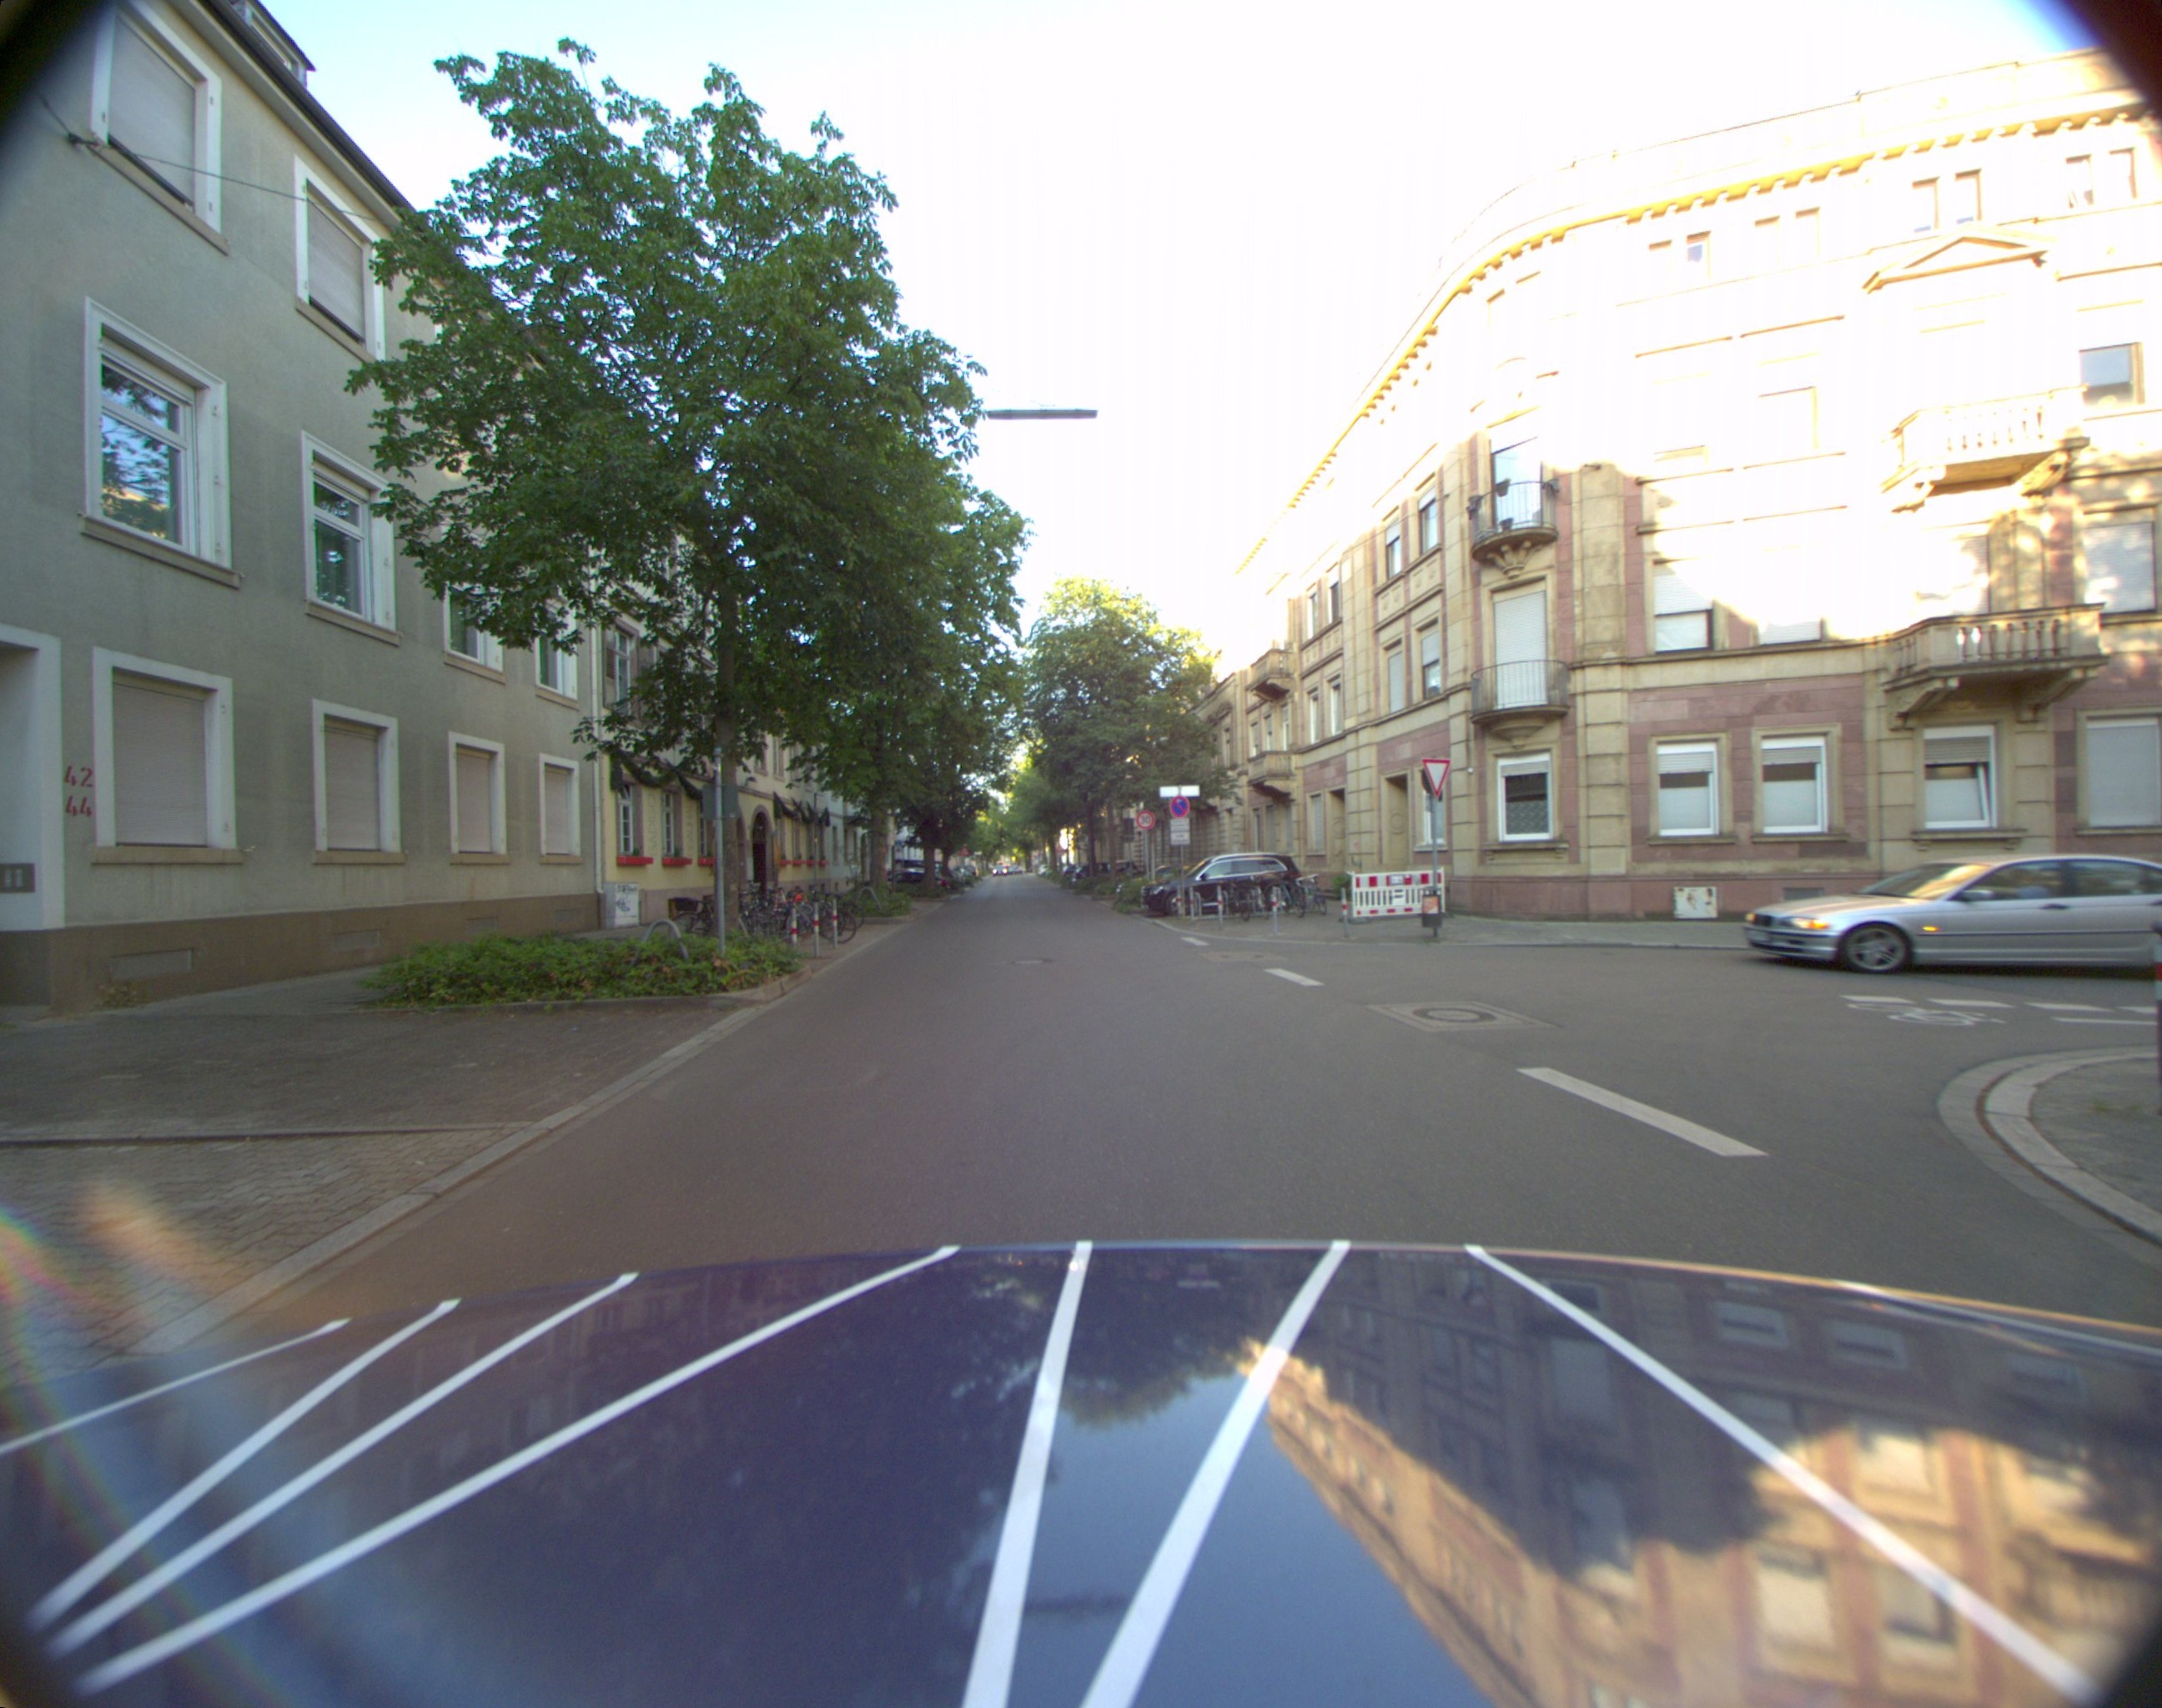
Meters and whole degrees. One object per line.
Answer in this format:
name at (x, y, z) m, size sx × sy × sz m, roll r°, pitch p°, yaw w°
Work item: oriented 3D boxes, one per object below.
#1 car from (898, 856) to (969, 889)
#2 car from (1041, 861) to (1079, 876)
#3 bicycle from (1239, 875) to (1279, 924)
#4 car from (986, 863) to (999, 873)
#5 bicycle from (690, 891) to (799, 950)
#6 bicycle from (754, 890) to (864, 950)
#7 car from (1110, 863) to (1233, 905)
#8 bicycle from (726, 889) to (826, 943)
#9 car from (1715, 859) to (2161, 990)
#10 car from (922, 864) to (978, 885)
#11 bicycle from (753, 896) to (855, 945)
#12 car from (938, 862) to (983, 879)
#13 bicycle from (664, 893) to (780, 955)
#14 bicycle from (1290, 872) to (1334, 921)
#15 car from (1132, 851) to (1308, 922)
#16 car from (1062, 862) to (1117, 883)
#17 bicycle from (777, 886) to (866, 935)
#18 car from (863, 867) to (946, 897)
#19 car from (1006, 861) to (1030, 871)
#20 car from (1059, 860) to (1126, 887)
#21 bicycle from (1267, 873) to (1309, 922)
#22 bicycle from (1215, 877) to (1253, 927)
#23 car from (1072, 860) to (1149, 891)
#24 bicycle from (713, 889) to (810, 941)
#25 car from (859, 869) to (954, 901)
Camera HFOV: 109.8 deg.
car at (-9.865, 1.249, 51.114) m, size 4.444 × 2.110 × 1.776 m, roll -1°, pitch 0°, yaw -4°
car at (-2.567, 1.752, 90.787) m, size 4.444 × 1.638 × 1.776 m, roll -1°, pitch 0°, yaw -4°
bicycle at (4.416, 1.094, 18.934) m, size 0.364 × 1.083 × 1.869 m, roll -3°, pitch 1°, yaw -5°
car at (-13.030, 2.000, 111.736) m, size 1.828 × 1.364 × 3.998 m, roll -1°, pitch -1°, yaw -5°
bicycle at (-7.037, 1.385, 15.958) m, size 2.042 × 1.139 × 0.421 m, roll -1°, pitch 0°, yaw -6°
bicycle at (-5.556, 1.347, 15.580) m, size 2.041 × 1.139 × 0.446 m, roll -1°, pitch 0°, yaw -4°
car at (3.459, 1.127, 29.440) m, size 4.444 × 1.478 × 1.776 m, roll -1°, pitch 0°, yaw -4°
bicycle at (-6.870, 1.387, 17.190) m, size 2.042 × 1.139 × 0.421 m, roll -1°, pitch 0°, yaw -6°
car at (10.788, 0.793, 9.191) m, size 4.462 × 1.395 × 1.685 m, roll -1°, pitch -2°, yaw 17°
car at (-11.036, 1.710, 64.282) m, size 4.444 × 1.603 × 1.776 m, roll -1°, pitch 0°, yaw -4°
bicycle at (-6.073, 1.451, 16.730) m, size 2.042 × 0.998 × 0.421 m, roll -1°, pitch 0°, yaw -6°
car at (-12.267, 1.718, 77.608) m, size 4.444 × 1.603 × 1.776 m, roll -1°, pitch 0°, yaw -4°
bicycle at (-7.077, 1.368, 15.011) m, size 2.041 × 1.139 × 0.446 m, roll -1°, pitch 0°, yaw -2°
bicycle at (5.733, 1.021, 18.945) m, size 0.364 × 1.083 × 1.869 m, roll -3°, pitch 1°, yaw -5°
car at (3.902, 0.883, 21.768) m, size 4.590 × 1.728 × 1.776 m, roll -3°, pitch 1°, yaw -4°
car at (0.645, 1.385, 58.130) m, size 4.032 × 1.474 × 1.776 m, roll -1°, pitch 0°, yaw -4°
bicycle at (-6.472, 1.401, 19.004) m, size 2.042 × 1.139 × 0.421 m, roll -1°, pitch 0°, yaw -6°
car at (-10.189, 1.582, 44.128) m, size 4.444 × 1.603 × 1.776 m, roll -1°, pitch 0°, yaw -4°
car at (-10.082, 1.896, 121.917) m, size 1.772 × 1.523 × 4.029 m, roll -2°, pitch -1°, yaw 34°
car at (0.778, 1.315, 52.554) m, size 4.444 × 1.728 × 1.776 m, roll -1°, pitch 0°, yaw -4°
bicycle at (5.123, 1.046, 18.884) m, size 0.364 × 1.083 × 1.869 m, roll -3°, pitch 1°, yaw -5°
bicycle at (3.754, 1.142, 18.735) m, size 0.364 × 1.083 × 1.869 m, roll -3°, pitch 1°, yaw -5°
car at (1.750, 1.256, 45.589) m, size 4.444 × 1.728 × 1.776 m, roll -1°, pitch 0°, yaw -4°
bicycle at (-7.477, 1.416, 17.846) m, size 2.042 × 1.139 × 0.421 m, roll -1°, pitch 0°, yaw -6°
car at (-8.874, 1.551, 38.900) m, size 4.444 × 1.496 × 1.776 m, roll -1°, pitch 0°, yaw -4°
